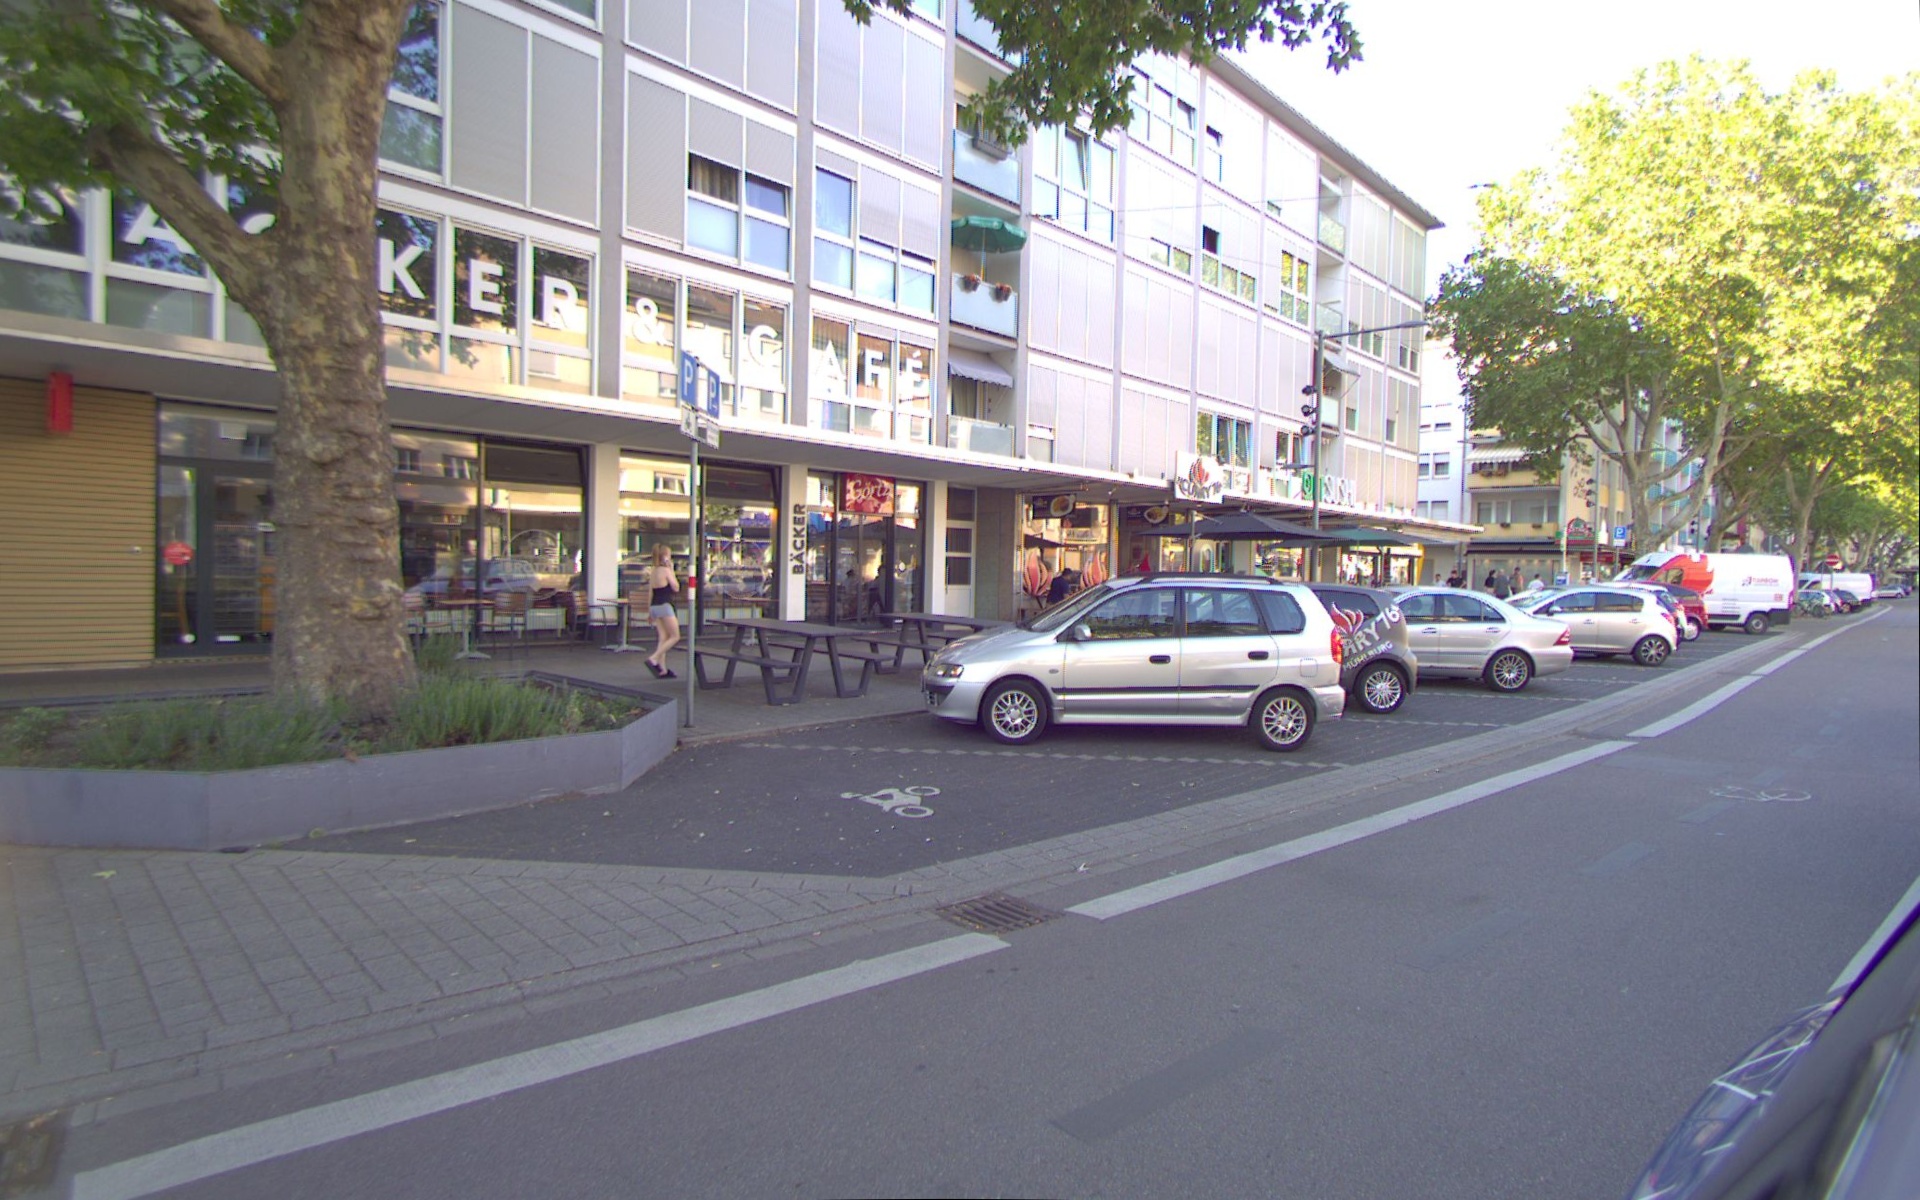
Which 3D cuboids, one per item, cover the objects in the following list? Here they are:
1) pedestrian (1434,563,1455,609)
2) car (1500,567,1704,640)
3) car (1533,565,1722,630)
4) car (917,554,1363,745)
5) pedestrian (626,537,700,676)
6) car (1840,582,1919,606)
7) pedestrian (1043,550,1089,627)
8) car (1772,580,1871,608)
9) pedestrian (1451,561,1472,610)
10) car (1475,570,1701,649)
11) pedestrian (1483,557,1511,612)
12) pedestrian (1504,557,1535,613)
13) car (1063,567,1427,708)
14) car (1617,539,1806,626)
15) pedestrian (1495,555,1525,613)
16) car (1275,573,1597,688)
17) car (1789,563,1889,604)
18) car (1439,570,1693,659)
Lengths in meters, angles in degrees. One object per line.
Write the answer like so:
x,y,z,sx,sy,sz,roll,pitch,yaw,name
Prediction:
17.791,-0.508,37.142,0.536,1.660,0.470,2,2,45,pedestrian
15.911,0.037,25.310,3.888,1.445,1.669,4,5,17,car
18.082,-0.115,27.614,3.888,1.445,1.669,4,5,17,car
1.573,0.414,9.808,3.906,1.560,1.679,2,3,-3,car
-3.529,0.057,12.025,0.559,1.596,0.632,2,2,44,pedestrian
56.495,-0.384,61.771,3.864,1.350,1.782,1,2,3,car
2.237,-0.255,21.376,0.757,1.602,0.583,0,2,-39,pedestrian
48.098,-0.350,56.543,3.864,1.422,1.782,1,2,3,car
18.218,-0.525,36.773,0.544,1.741,0.450,2,2,45,pedestrian
13.934,0.153,22.694,3.886,1.446,1.670,3,3,16,car
19.927,-0.589,37.545,0.746,2.000,0.566,3,2,45,pedestrian
20.384,-0.555,36.874,0.746,2.038,0.752,3,2,45,pedestrian
3.340,0.403,12.336,3.864,1.446,1.679,2,3,-3,car
23.719,-0.560,32.071,4.514,2.525,1.675,2,1,5,car
19.624,-0.583,36.109,0.746,2.038,0.550,3,2,45,pedestrian
6.827,0.403,14.795,3.867,1.418,1.598,2,3,1,car
56.556,-1.078,65.193,4.512,2.499,1.977,1,2,3,car
11.753,0.246,19.822,3.871,1.446,1.559,3,3,4,car
